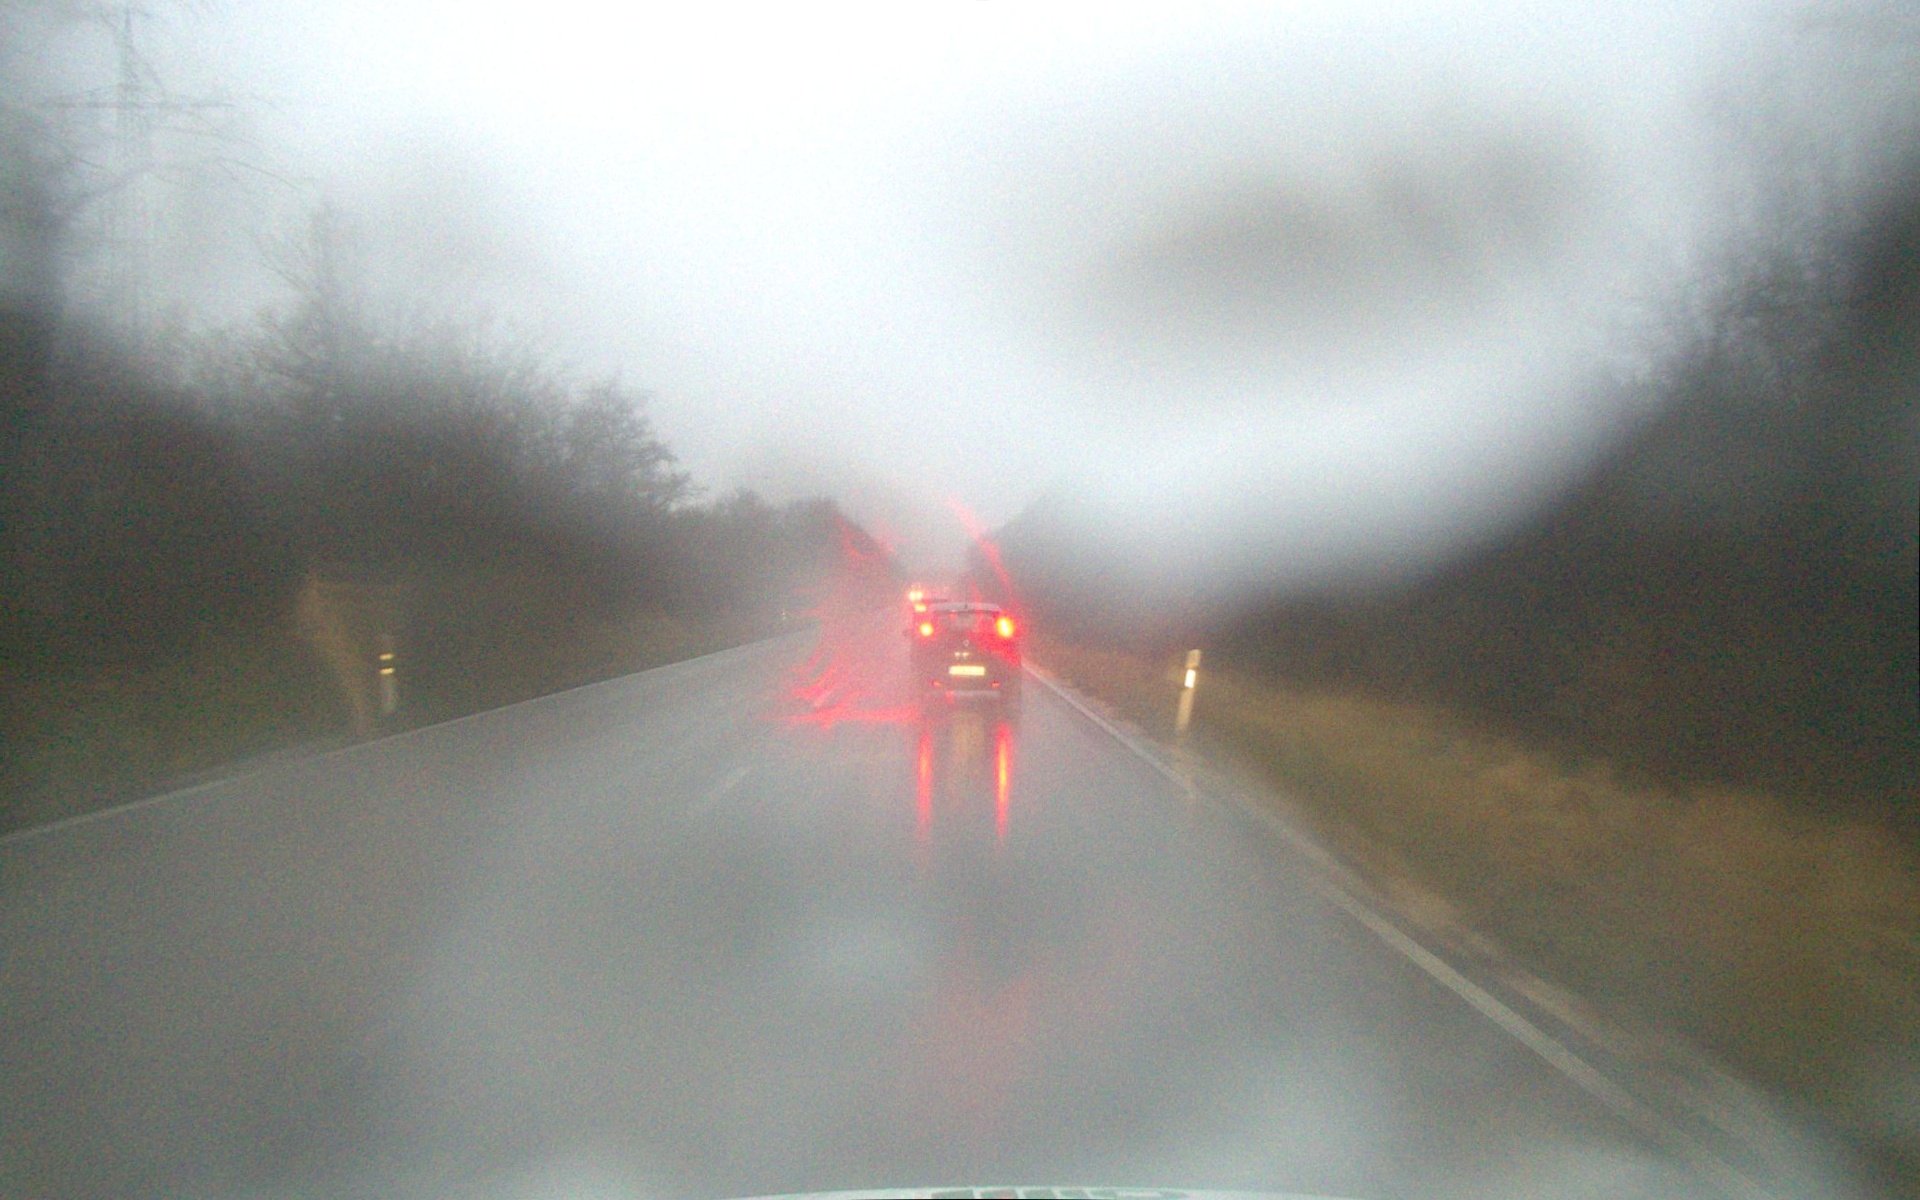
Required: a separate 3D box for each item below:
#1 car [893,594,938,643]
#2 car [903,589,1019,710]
[{"bbox_3d":[-1.745,0.707,65.085,1.698,1.810,3.999,1,0,-1],"label":"car"},{"bbox_3d":[-0.014,0.714,25.338,1.614,1.701,3.513,1,0,-1],"label":"car"}]
